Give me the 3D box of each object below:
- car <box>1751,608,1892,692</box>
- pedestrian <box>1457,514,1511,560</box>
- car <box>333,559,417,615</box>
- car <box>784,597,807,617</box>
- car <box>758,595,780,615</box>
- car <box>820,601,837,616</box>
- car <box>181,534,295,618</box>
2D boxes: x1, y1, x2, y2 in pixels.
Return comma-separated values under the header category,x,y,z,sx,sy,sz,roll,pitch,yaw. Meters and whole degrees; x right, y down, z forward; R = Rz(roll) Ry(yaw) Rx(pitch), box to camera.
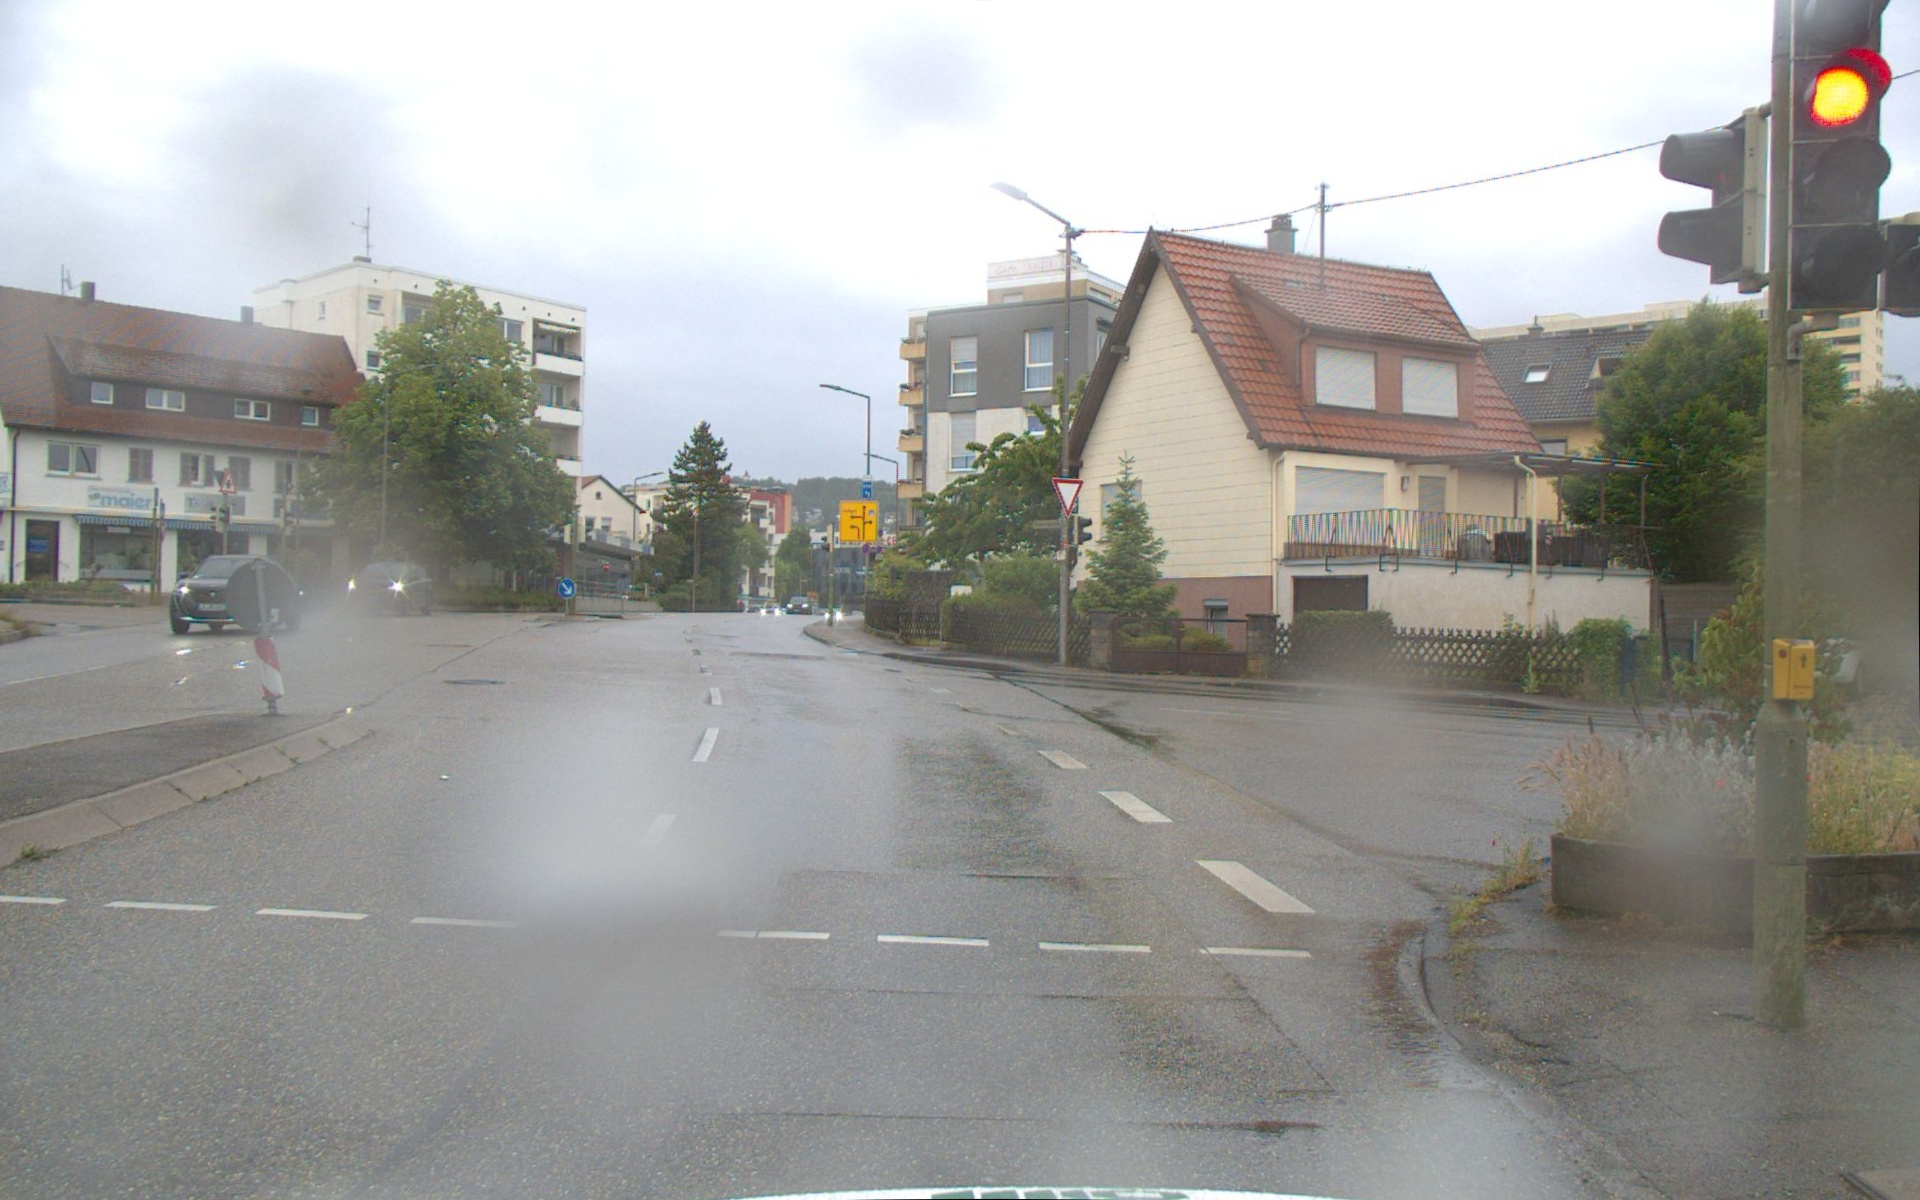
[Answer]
category,x,y,z,sx,sy,sz,roll,pitch,yaw
car,15.621,0.862,29.883,1.780,1.386,3.986,1,0,35
pedestrian,11.151,-1.338,35.183,0.902,0.898,0.632,1,-2,-20
car,-18.052,-0.381,51.203,1.845,1.625,4.172,1,0,-12
car,-14.999,0.646,150.889,1.956,1.768,5.173,1,0,-7
car,-18.490,0.467,160.004,1.955,1.937,3.995,1,0,-5
car,-15.527,0.966,195.227,1.955,1.708,3.995,1,0,-5
car,-14.379,-0.447,33.063,1.940,1.538,3.972,1,0,-23
